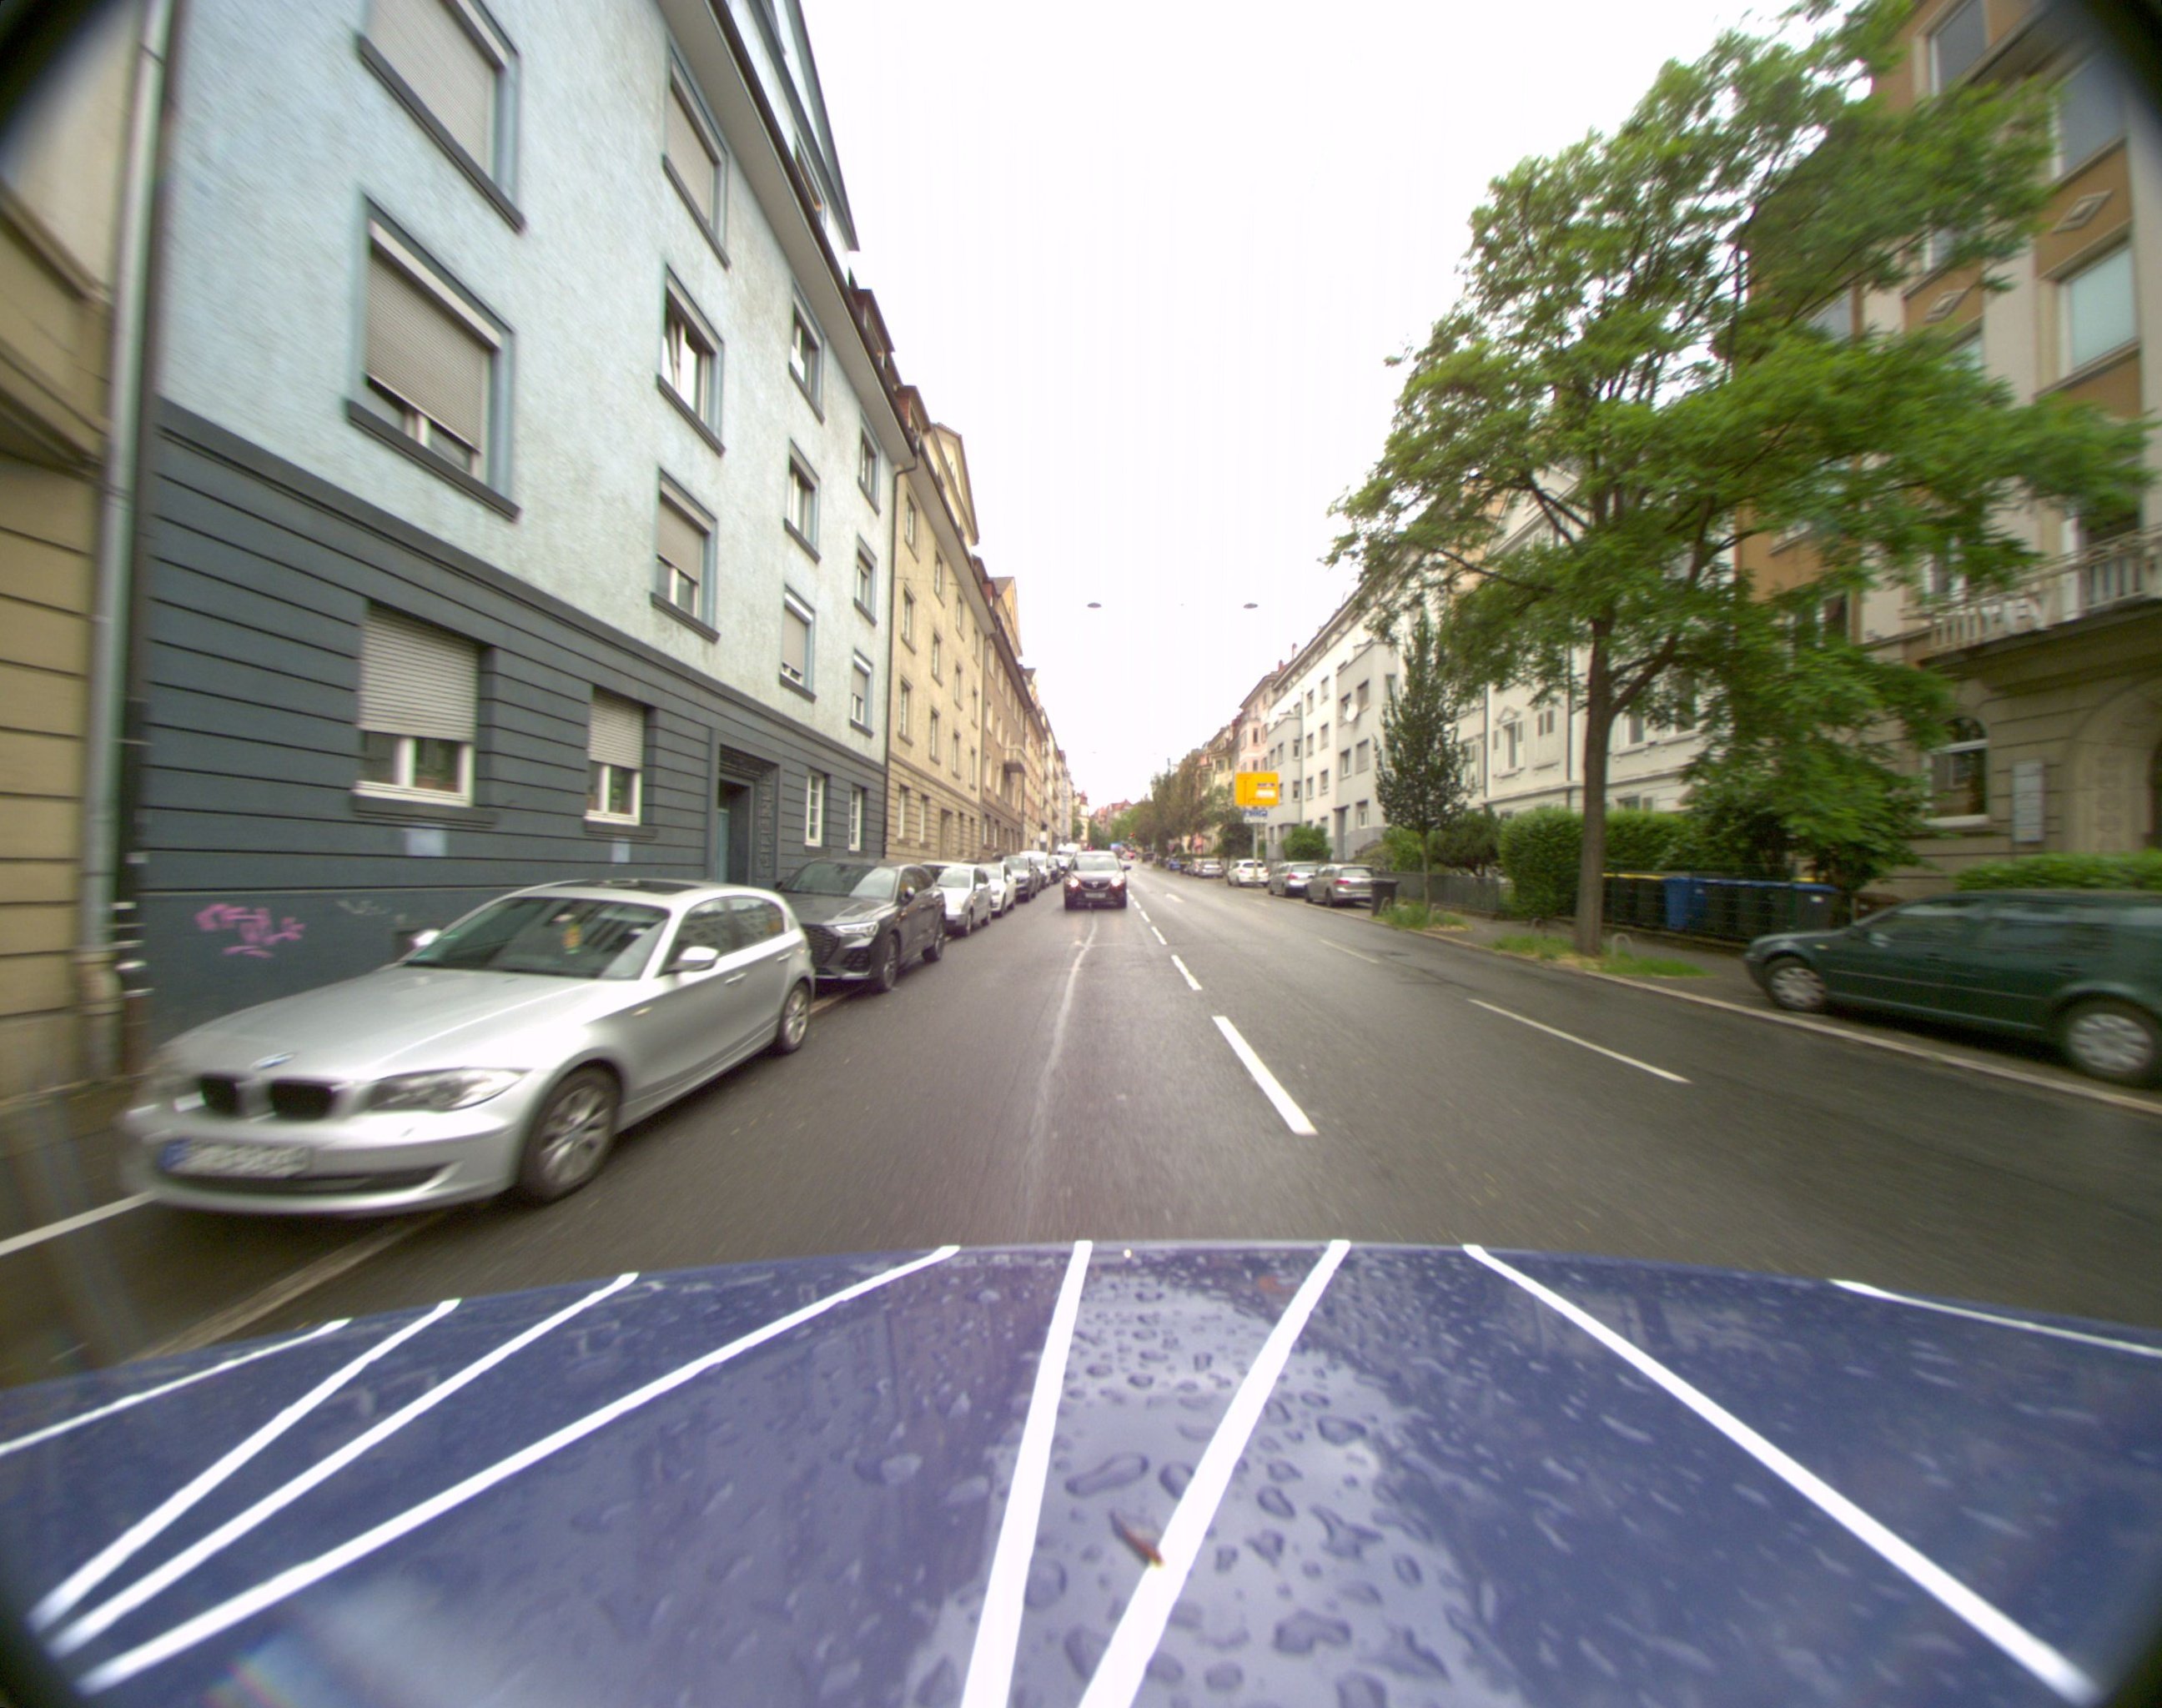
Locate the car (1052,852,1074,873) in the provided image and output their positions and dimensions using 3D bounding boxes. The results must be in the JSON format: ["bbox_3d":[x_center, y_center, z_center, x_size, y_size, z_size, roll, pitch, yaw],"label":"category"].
[{"bbox_3d":[-1.455,0.658,61.660,1.636,1.470,3.734,4,1,0],"label":"car"}]

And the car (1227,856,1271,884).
[{"bbox_3d":[9.322,0.856,42.378,1.650,1.499,3.796,0,0,0],"label":"car"}]

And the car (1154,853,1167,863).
[{"bbox_3d":[11.812,0.598,112.889,1.685,1.409,4.138,1,1,2],"label":"car"}]

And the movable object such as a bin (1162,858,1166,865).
[{"bbox_3d":[10.594,0.971,96.943,0.365,0.884,0.572,-1,1,1],"label":"movable object such as a bin"}]

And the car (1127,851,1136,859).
[{"bbox_3d":[11.429,0.232,172.561,1.771,1.540,3.652,-1,1,1],"label":"car"}]

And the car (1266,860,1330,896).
[{"bbox_3d":[9.052,0.954,32.018,1.686,1.382,3.909,-1,0,2],"label":"car"}]

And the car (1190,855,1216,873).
[{"bbox_3d":[10.054,0.792,62.795,1.604,1.388,3.887,0,1,1],"label":"car"}]

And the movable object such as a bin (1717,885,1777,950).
[{"bbox_3d":[11.213,1.050,12.800,0.427,1.035,0.650,1,1,1],"label":"movable object such as a bin"}]

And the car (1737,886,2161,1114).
[{"bbox_3d":[8.442,1.109,6.829,1.658,1.445,3.942,0,0,0],"label":"car"}]

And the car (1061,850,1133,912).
[{"bbox_3d":[0.431,0.722,22.519,1.889,1.543,3.999,-2,1,0],"label":"car"}]

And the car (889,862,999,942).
[{"bbox_3d":[-2.856,0.959,16.537,1.587,1.421,3.595,3,0,1],"label":"car"}]

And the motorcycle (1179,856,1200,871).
[{"bbox_3d":[9.713,0.822,67.991,1.806,1.307,0.743,1,1,43],"label":"motorcycle"}]

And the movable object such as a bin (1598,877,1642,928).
[{"bbox_3d":[11.282,1.003,15.913,0.440,1.033,0.650,1,1,1],"label":"movable object such as a bin"}]

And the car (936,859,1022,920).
[{"bbox_3d":[-2.761,0.925,21.385,1.733,1.421,3.974,3,0,1],"label":"car"}]

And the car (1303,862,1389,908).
[{"bbox_3d":[8.968,1.004,26.050,1.686,1.382,3.936,0,1,2],"label":"car"}]

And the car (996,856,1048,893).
[{"bbox_3d":[-2.525,0.849,33.530,1.845,1.401,4.387,3,1,0],"label":"car"}]

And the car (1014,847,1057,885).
[{"bbox_3d":[-2.274,0.563,38.705,1.795,1.807,4.080,2,0,1],"label":"car"}]

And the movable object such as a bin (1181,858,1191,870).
[{"bbox_3d":[9.758,0.894,70.703,0.826,1.052,0.483,-2,2,3],"label":"movable object such as a bin"}]

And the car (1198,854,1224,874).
[{"bbox_3d":[9.940,0.756,58.229,1.604,1.443,3.889,-1,0,5],"label":"car"}]

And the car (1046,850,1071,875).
[{"bbox_3d":[-1.651,0.597,56.720,1.636,1.629,4.194,3,1,0],"label":"car"}]

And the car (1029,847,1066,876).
[{"bbox_3d":[-1.925,0.413,44.888,1.795,1.539,4.226,2,0,2],"label":"car"}]

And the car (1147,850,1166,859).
[{"bbox_3d":[16.067,0.007,162.404,3.929,1.836,1.867,-1,1,-1],"label":"car"}]

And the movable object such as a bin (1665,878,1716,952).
[{"bbox_3d":[11.285,1.116,14.081,0.440,1.301,0.609,1,1,1],"label":"movable object such as a bin"}]

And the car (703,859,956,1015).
[{"bbox_3d":[-3.058,0.904,10.292,1.822,1.549,4.293,2,1,2],"label":"car"}]

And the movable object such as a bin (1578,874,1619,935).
[{"bbox_3d":[11.337,1.097,16.651,0.440,1.292,0.650,1,1,1],"label":"movable object such as a bin"}]

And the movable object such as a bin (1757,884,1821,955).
[{"bbox_3d":[11.224,1.022,12.053,0.440,1.075,0.590,1,1,1],"label":"movable object such as a bin"}]

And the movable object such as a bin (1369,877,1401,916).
[{"bbox_3d":[8.503,1.186,21.257,0.631,1.052,0.600,1,2,2],"label":"movable object such as a bin"}]

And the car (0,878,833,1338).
[{"bbox_3d":[-3.113,0.991,4.814,1.573,1.455,4.089,2,1,2],"label":"car"}]

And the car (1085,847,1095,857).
[{"bbox_3d":[1.834,-0.381,150.445,1.826,1.808,4.520,1,1,2],"label":"car"}]

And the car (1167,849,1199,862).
[{"bbox_3d":[15.835,0.263,118.648,4.731,1.894,1.918,-1,2,0],"label":"car"}]

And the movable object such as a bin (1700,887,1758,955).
[{"bbox_3d":[11.265,1.148,13.225,0.440,1.124,0.657,1,1,1],"label":"movable object such as a bin"}]

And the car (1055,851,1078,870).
[{"bbox_3d":[-1.258,0.541,66.806,1.782,1.471,4.587,1,1,1],"label":"car"}]

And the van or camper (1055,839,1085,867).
[{"bbox_3d":[-1.087,-0.101,78.973,2.188,2.684,6.423,1,0,7],"label":"van or camper"}]

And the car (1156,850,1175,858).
[{"bbox_3d":[17.895,-0.053,160.579,3.928,1.613,1.592,1,1,2],"label":"car"}]

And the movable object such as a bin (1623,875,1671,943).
[{"bbox_3d":[11.304,1.088,15.184,0.440,1.301,0.650,1,1,1],"label":"movable object such as a bin"}]

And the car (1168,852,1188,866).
[{"bbox_3d":[10.700,0.551,83.983,1.683,1.378,4.602,1,1,2],"label":"car"}]

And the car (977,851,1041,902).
[{"bbox_3d":[-2.531,0.756,27.667,1.845,1.611,4.207,2,1,0],"label":"car"}]
